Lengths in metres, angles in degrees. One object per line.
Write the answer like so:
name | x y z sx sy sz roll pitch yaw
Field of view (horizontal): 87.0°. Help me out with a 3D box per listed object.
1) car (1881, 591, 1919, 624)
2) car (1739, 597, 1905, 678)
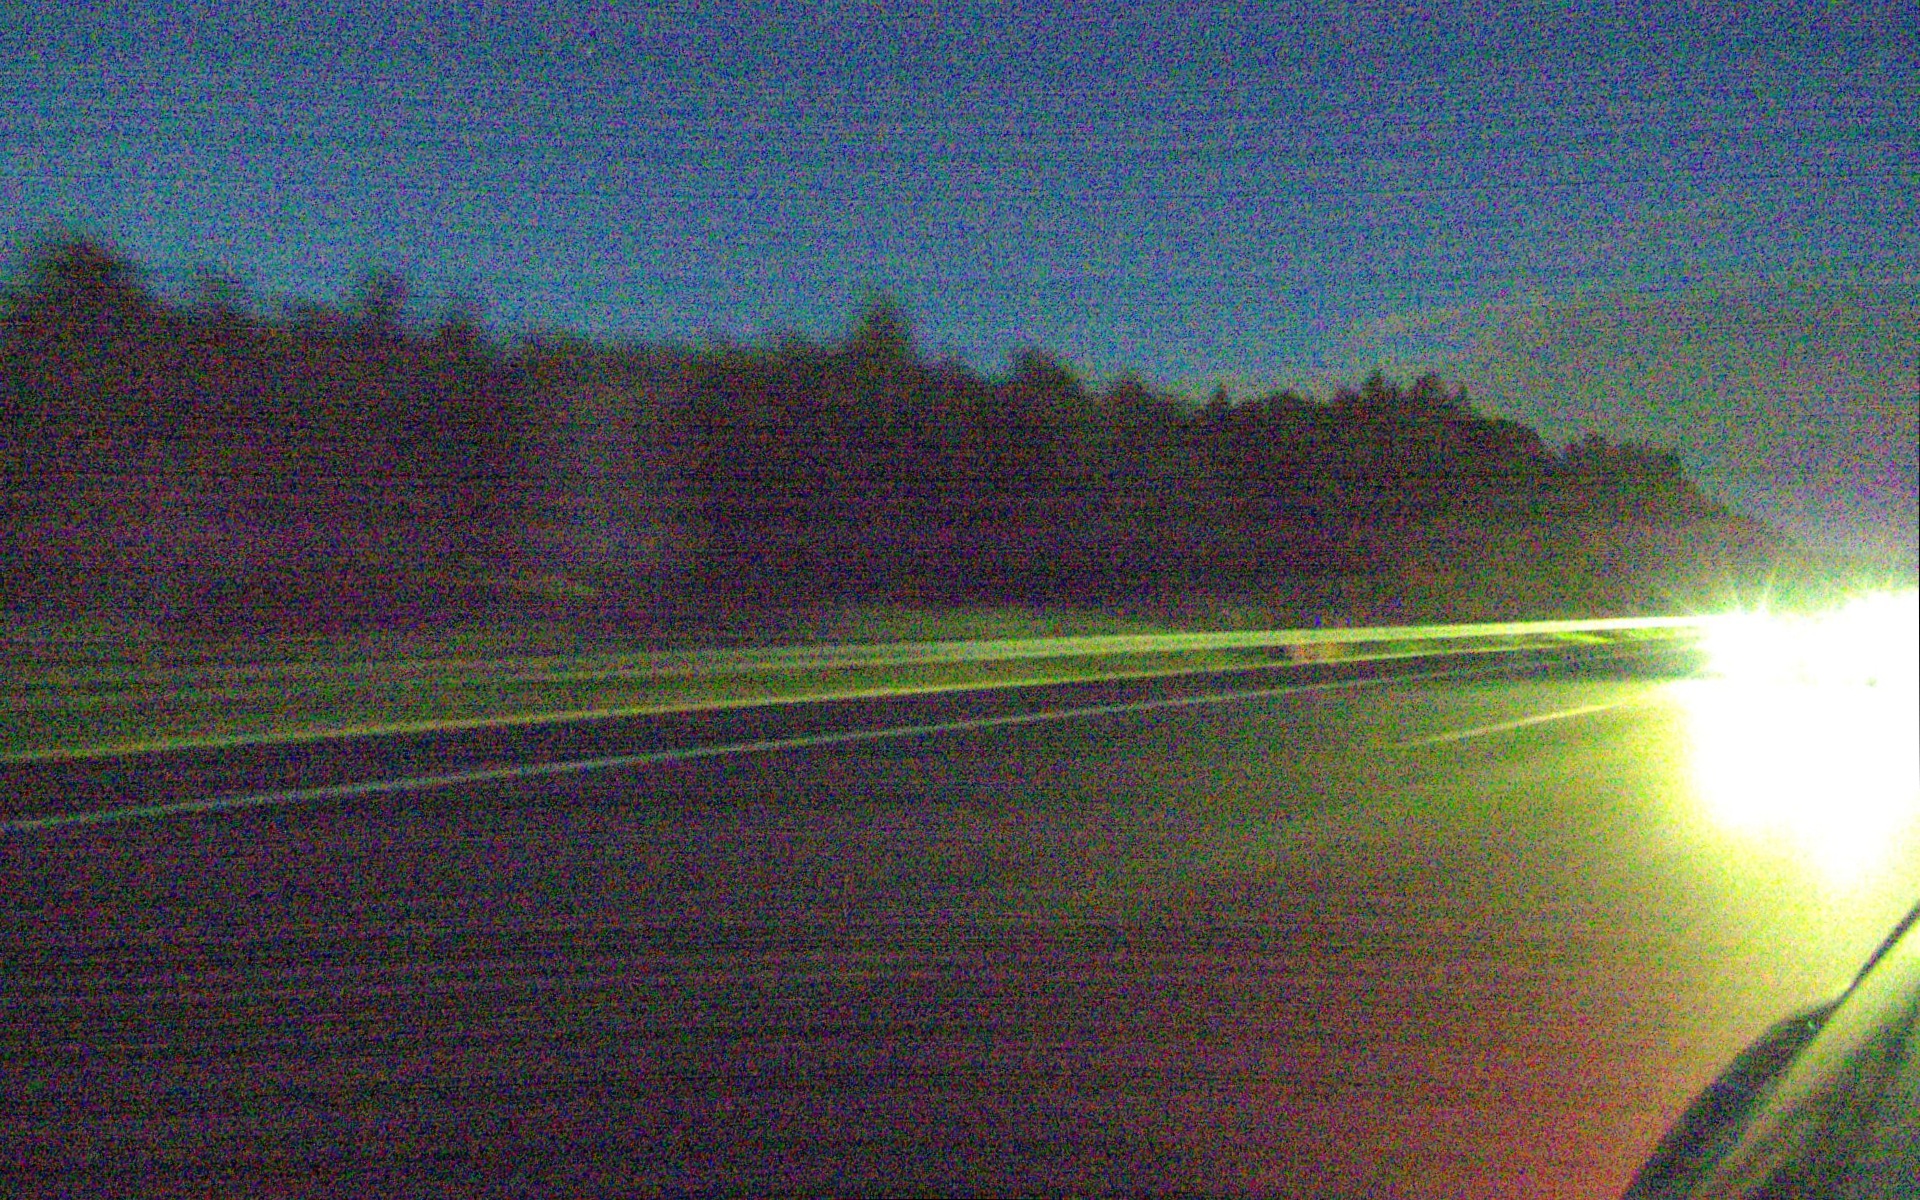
car | 52.491 0.426 55.832 5.078 1.739 1.996 1 -1 -42
car | 17.074 0.672 19.952 4.981 1.419 1.837 1 -1 -42
